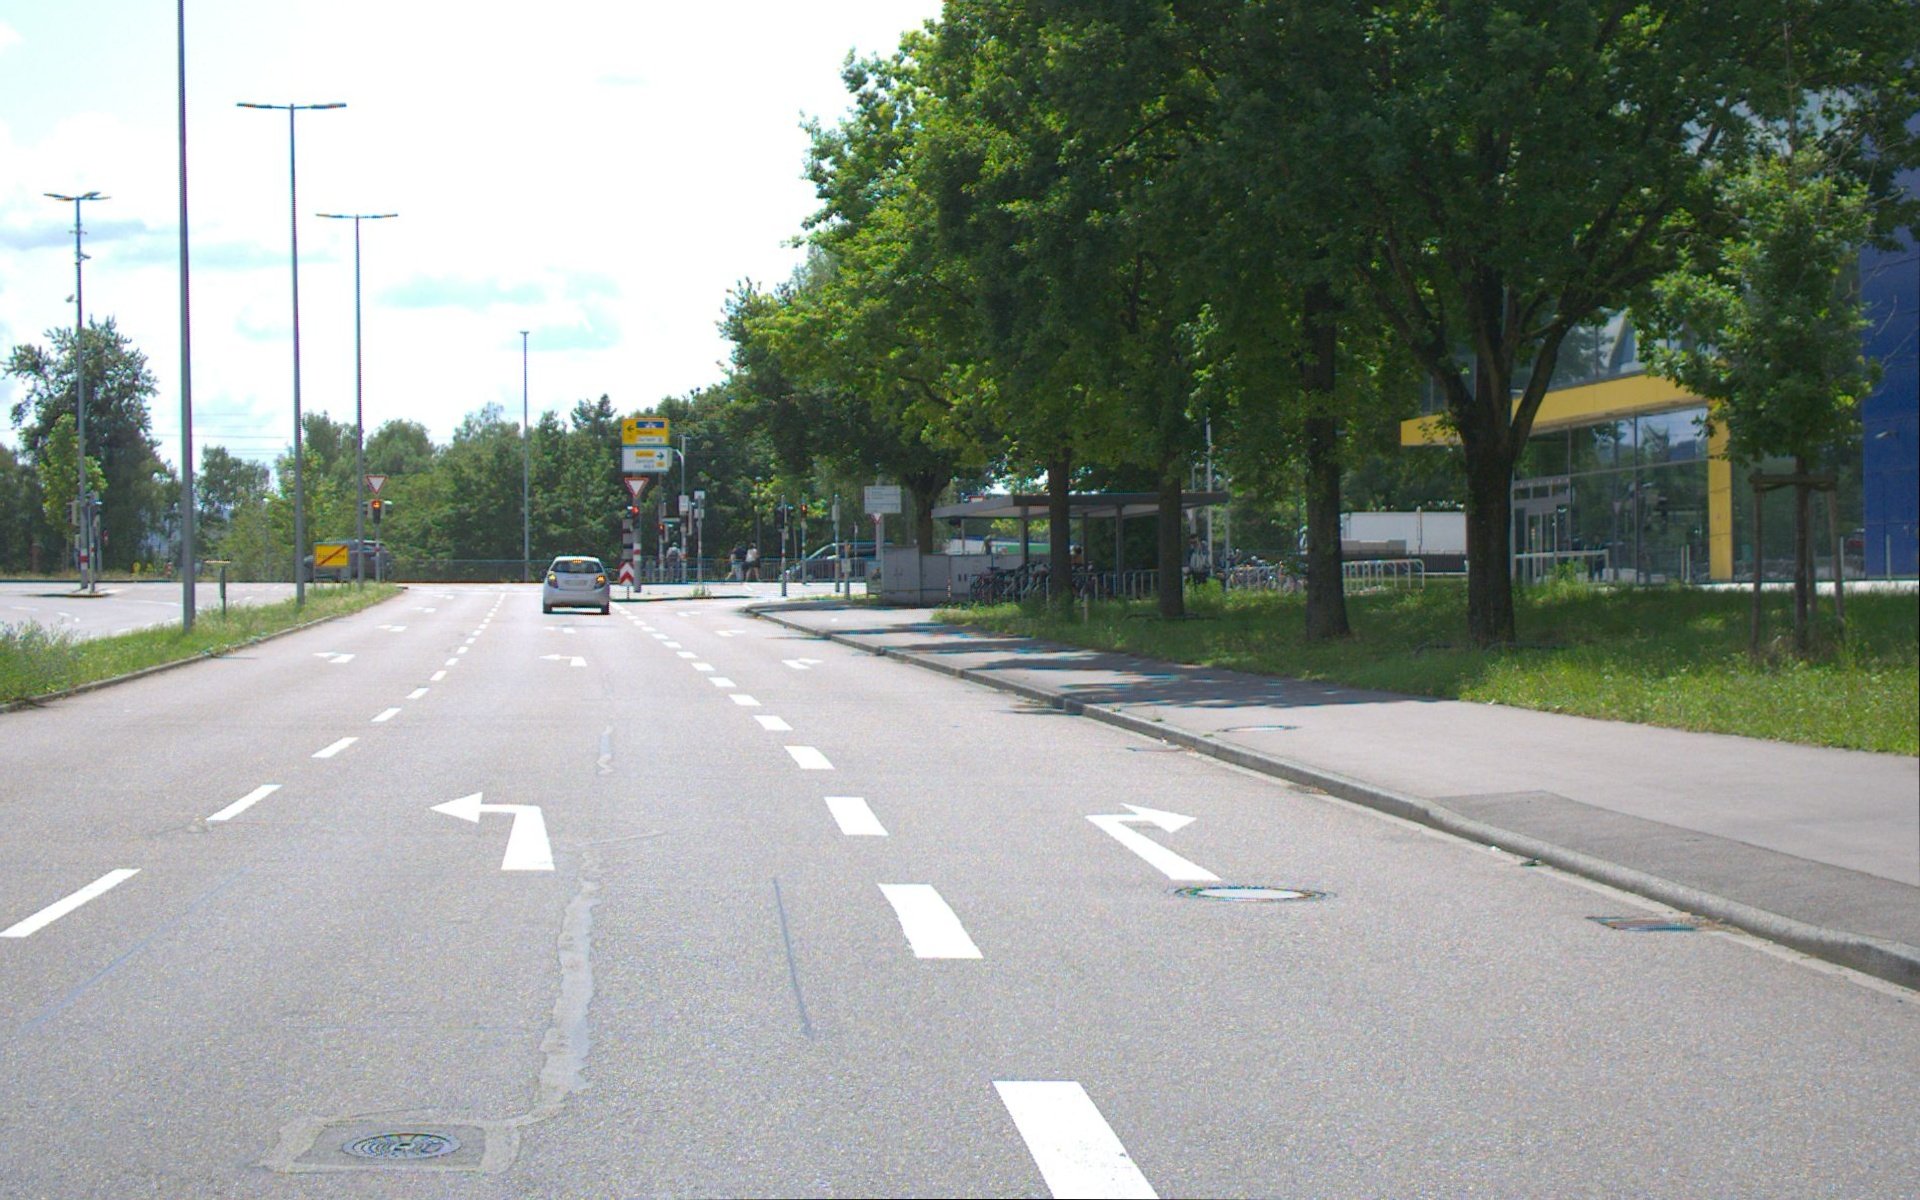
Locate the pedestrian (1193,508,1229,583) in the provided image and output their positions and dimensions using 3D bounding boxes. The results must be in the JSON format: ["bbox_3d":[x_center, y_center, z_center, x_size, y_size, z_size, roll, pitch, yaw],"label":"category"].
[{"bbox_3d":[5.821,-1.271,79.799,0.634,1.716,0.524,-2,0,29],"label":"pedestrian"}]

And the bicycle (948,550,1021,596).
[{"bbox_3d":[0.650,-0.711,90.881,1.861,1.183,0.424,-1,1,-11],"label":"bicycle"}]

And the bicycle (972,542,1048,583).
[{"bbox_3d":[1.272,-0.965,87.454,1.861,0.991,0.424,-2,1,-11],"label":"bicycle"}]

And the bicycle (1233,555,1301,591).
[{"bbox_3d":[8.674,-0.760,97.165,1.861,0.991,0.465,-1,1,-11],"label":"bicycle"}]

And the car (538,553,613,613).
[{"bbox_3d":[-10.138,-0.459,90.715,1.894,1.464,3.834,1,2,-6],"label":"car"}]

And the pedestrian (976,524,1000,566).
[{"bbox_3d":[1.205,-2.358,147.901,0.926,1.801,0.736,0,1,-8],"label":"pedestrian"}]

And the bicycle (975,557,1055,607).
[{"bbox_3d":[1.337,-0.440,83.753,1.895,1.166,0.424,-2,1,-5],"label":"bicycle"}]

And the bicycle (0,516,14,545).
[{"bbox_3d":[-34.293,-2.473,120.617,2.016,0.996,0.622,2,0,-7],"label":"bicycle"}]

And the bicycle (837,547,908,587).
[{"bbox_3d":[-2.378,-0.902,93.647,1.861,0.991,0.424,-2,0,-11],"label":"bicycle"}]

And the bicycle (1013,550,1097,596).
[{"bbox_3d":[2.208,-0.624,79.896,1.861,0.991,0.424,-3,1,-11],"label":"bicycle"}]

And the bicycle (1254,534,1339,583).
[{"bbox_3d":[8.833,-1.092,90.304,2.140,1.225,0.721,-2,1,3],"label":"bicycle"}]

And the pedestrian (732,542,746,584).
[{"bbox_3d":[-9.012,-1.502,140.228,0.523,1.715,0.730,-1,1,-3],"label":"pedestrian"}]

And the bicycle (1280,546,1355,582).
[{"bbox_3d":[9.271,-0.925,89.185,1.861,0.878,0.471,-2,1,-6],"label":"bicycle"}]

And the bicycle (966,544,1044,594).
[{"bbox_3d":[1.125,-0.778,85.967,1.861,1.183,0.424,-2,1,-11],"label":"bicycle"}]

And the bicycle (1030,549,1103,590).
[{"bbox_3d":[2.788,-0.807,90.030,1.861,1.030,0.424,-1,1,-5],"label":"bicycle"}]

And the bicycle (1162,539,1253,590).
[{"bbox_3d":[5.709,-0.819,79.352,2.011,1.104,0.576,-2,1,31],"label":"bicycle"}]

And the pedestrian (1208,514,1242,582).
[{"bbox_3d":[8.304,-1.626,107.725,1.008,2.065,0.974,-1,-1,7],"label":"pedestrian"}]

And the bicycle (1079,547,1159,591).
[{"bbox_3d":[3.890,-0.768,84.227,1.861,0.991,0.424,-3,0,-11],"label":"bicycle"}]

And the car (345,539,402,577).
[{"bbox_3d":[-23.797,-1.714,139.313,1.894,1.464,3.835,1,1,-15],"label":"car"}]

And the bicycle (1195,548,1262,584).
[{"bbox_3d":[7.785,-0.996,99.774,1.861,0.991,0.424,-1,1,-5],"label":"bicycle"}]

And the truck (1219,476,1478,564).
[{"bbox_3d":[18.546,-3.823,164.389,11.955,4.090,2.953,0,1,-6],"label":"truck"}]

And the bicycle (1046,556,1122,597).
[{"bbox_3d":[3.162,-0.595,87.491,1.861,0.991,0.424,-1,-1,-11],"label":"bicycle"}]
